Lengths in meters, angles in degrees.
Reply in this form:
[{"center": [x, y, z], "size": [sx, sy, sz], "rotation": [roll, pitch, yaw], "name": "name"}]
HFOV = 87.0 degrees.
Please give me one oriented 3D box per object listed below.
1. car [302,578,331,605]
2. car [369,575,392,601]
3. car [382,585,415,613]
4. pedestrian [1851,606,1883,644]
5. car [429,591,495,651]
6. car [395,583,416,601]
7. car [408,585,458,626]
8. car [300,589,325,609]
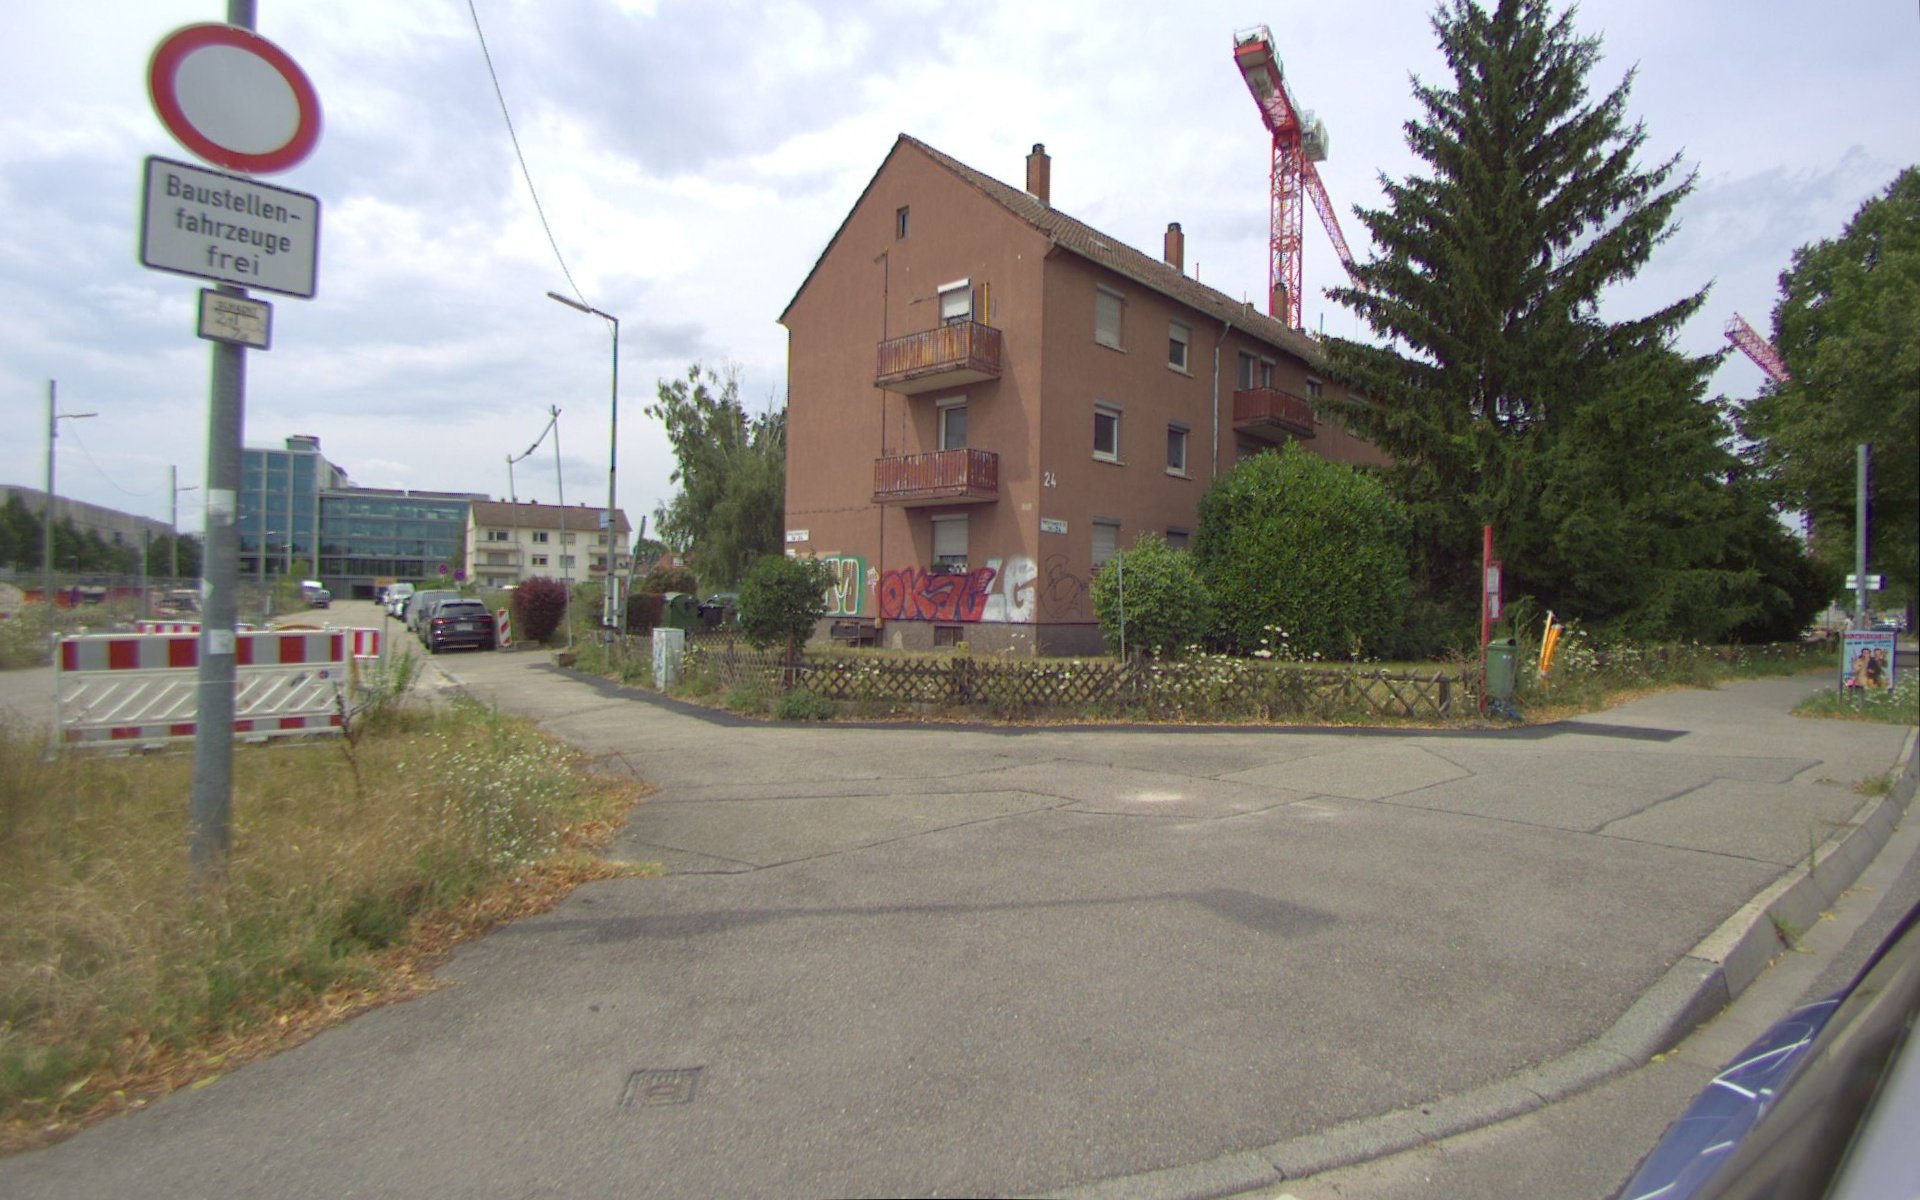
[{"center": [-75.767, -1.038, 119.171], "size": [2.561, 3.121, 5.874], "rotation": [-1, 2, -30], "name": "car"}, {"center": [-78.221, -1.632, 136.604], "size": [2.561, 3.342, 5.874], "rotation": [-1, 2, -30], "name": "car"}, {"center": [-37.513, -0.081, 67.570], "size": [1.792, 1.704, 3.847], "rotation": [-1, 2, -30], "name": "car"}, {"center": [45.186, 1.245, 50.444], "size": [0.870, 1.837, 0.886], "rotation": [2, 0, -28], "name": "pedestrian"}, {"center": [-15.939, 0.601, 32.397], "size": [1.791, 1.704, 3.849], "rotation": [-1, 2, -27], "name": "car"}, {"center": [-57.951, -0.841, 105.681], "size": [1.792, 1.704, 3.847], "rotation": [-1, 2, -30], "name": "car"}, {"center": [-24.043, 0.229, 46.106], "size": [1.792, 1.704, 3.847], "rotation": [-1, 2, -30], "name": "car"}, {"center": [-59.028, -0.086, 92.309], "size": [1.792, 1.704, 3.847], "rotation": [-1, 2, -30], "name": "car"}]
